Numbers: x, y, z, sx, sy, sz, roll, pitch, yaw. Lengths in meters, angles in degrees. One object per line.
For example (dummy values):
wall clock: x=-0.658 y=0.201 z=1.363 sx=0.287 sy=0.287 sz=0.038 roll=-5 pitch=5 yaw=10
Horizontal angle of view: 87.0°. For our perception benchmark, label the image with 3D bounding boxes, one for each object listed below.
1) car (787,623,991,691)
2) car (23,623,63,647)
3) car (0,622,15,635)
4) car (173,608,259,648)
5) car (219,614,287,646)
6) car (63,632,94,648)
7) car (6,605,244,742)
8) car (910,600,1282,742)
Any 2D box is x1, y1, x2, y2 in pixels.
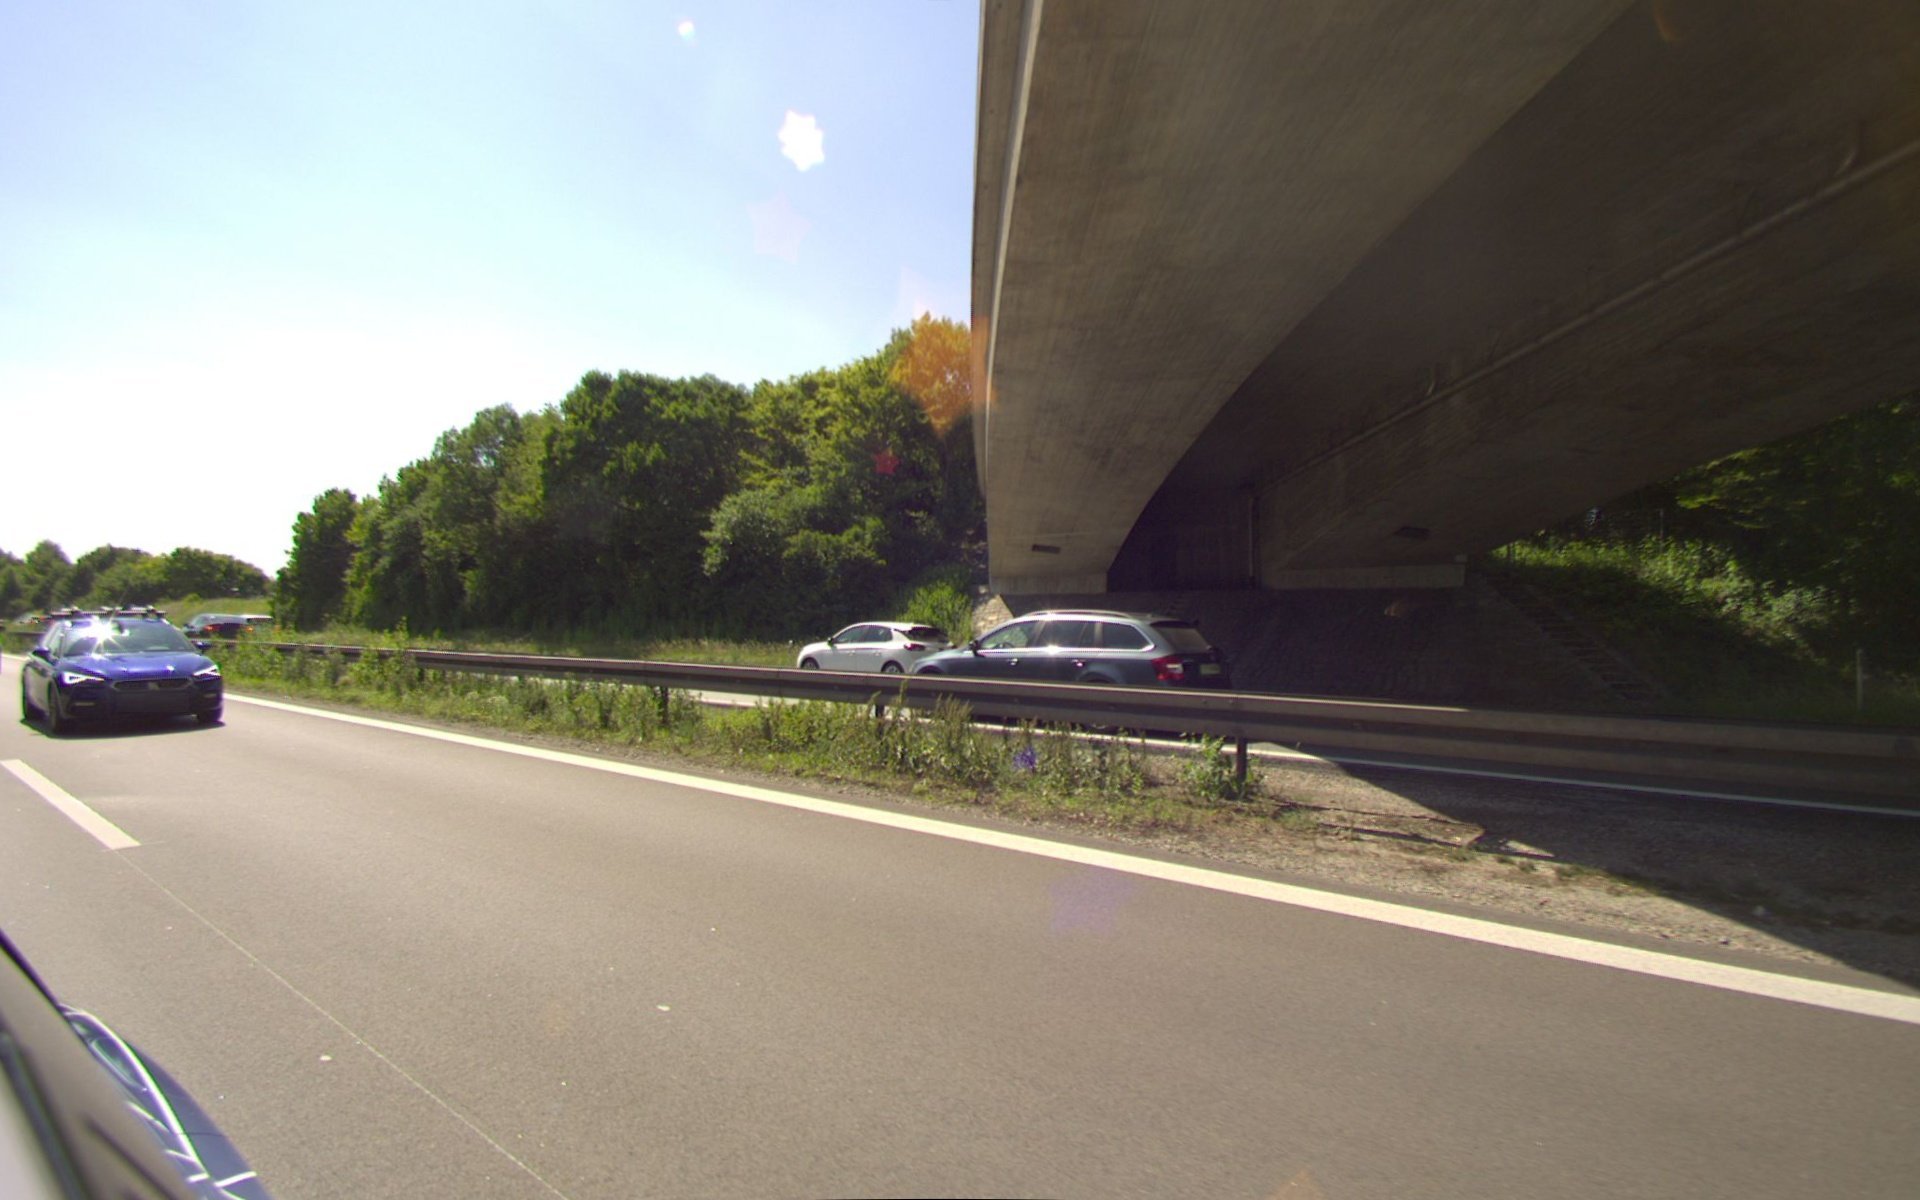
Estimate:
car: x=-1.581 y=1.182 z=21.594 sx=4.366 sy=1.312 sz=1.756 roll=-1 pitch=-4 yaw=41
car: x=-68.083 y=2.581 z=75.120 sx=4.127 sy=1.679 sz=1.778 roll=-2 pitch=-2 yaw=42
car: x=-107.918 y=3.224 z=113.697 sx=4.656 sy=1.407 sz=1.973 roll=0 pitch=-1 yaw=40
car: x=-30.728 y=1.151 z=41.760 sx=4.748 sy=1.539 sz=1.840 roll=-1 pitch=-2 yaw=41
car: x=-35.979 y=1.512 z=51.462 sx=4.212 sy=1.539 sz=1.840 roll=-1 pitch=-2 yaw=41
car: x=-87.203 y=3.931 z=100.135 sx=4.127 sy=1.566 sz=1.777 roll=-2 pitch=-4 yaw=42
car: x=-11.754 y=0.919 z=14.150 sx=4.238 sy=1.638 sz=1.880 roll=-1 pitch=-1 yaw=41
car: x=1.580 y=0.829 z=12.779 sx=4.417 sy=1.485 sz=1.756 roll=-1 pitch=-4 yaw=41
